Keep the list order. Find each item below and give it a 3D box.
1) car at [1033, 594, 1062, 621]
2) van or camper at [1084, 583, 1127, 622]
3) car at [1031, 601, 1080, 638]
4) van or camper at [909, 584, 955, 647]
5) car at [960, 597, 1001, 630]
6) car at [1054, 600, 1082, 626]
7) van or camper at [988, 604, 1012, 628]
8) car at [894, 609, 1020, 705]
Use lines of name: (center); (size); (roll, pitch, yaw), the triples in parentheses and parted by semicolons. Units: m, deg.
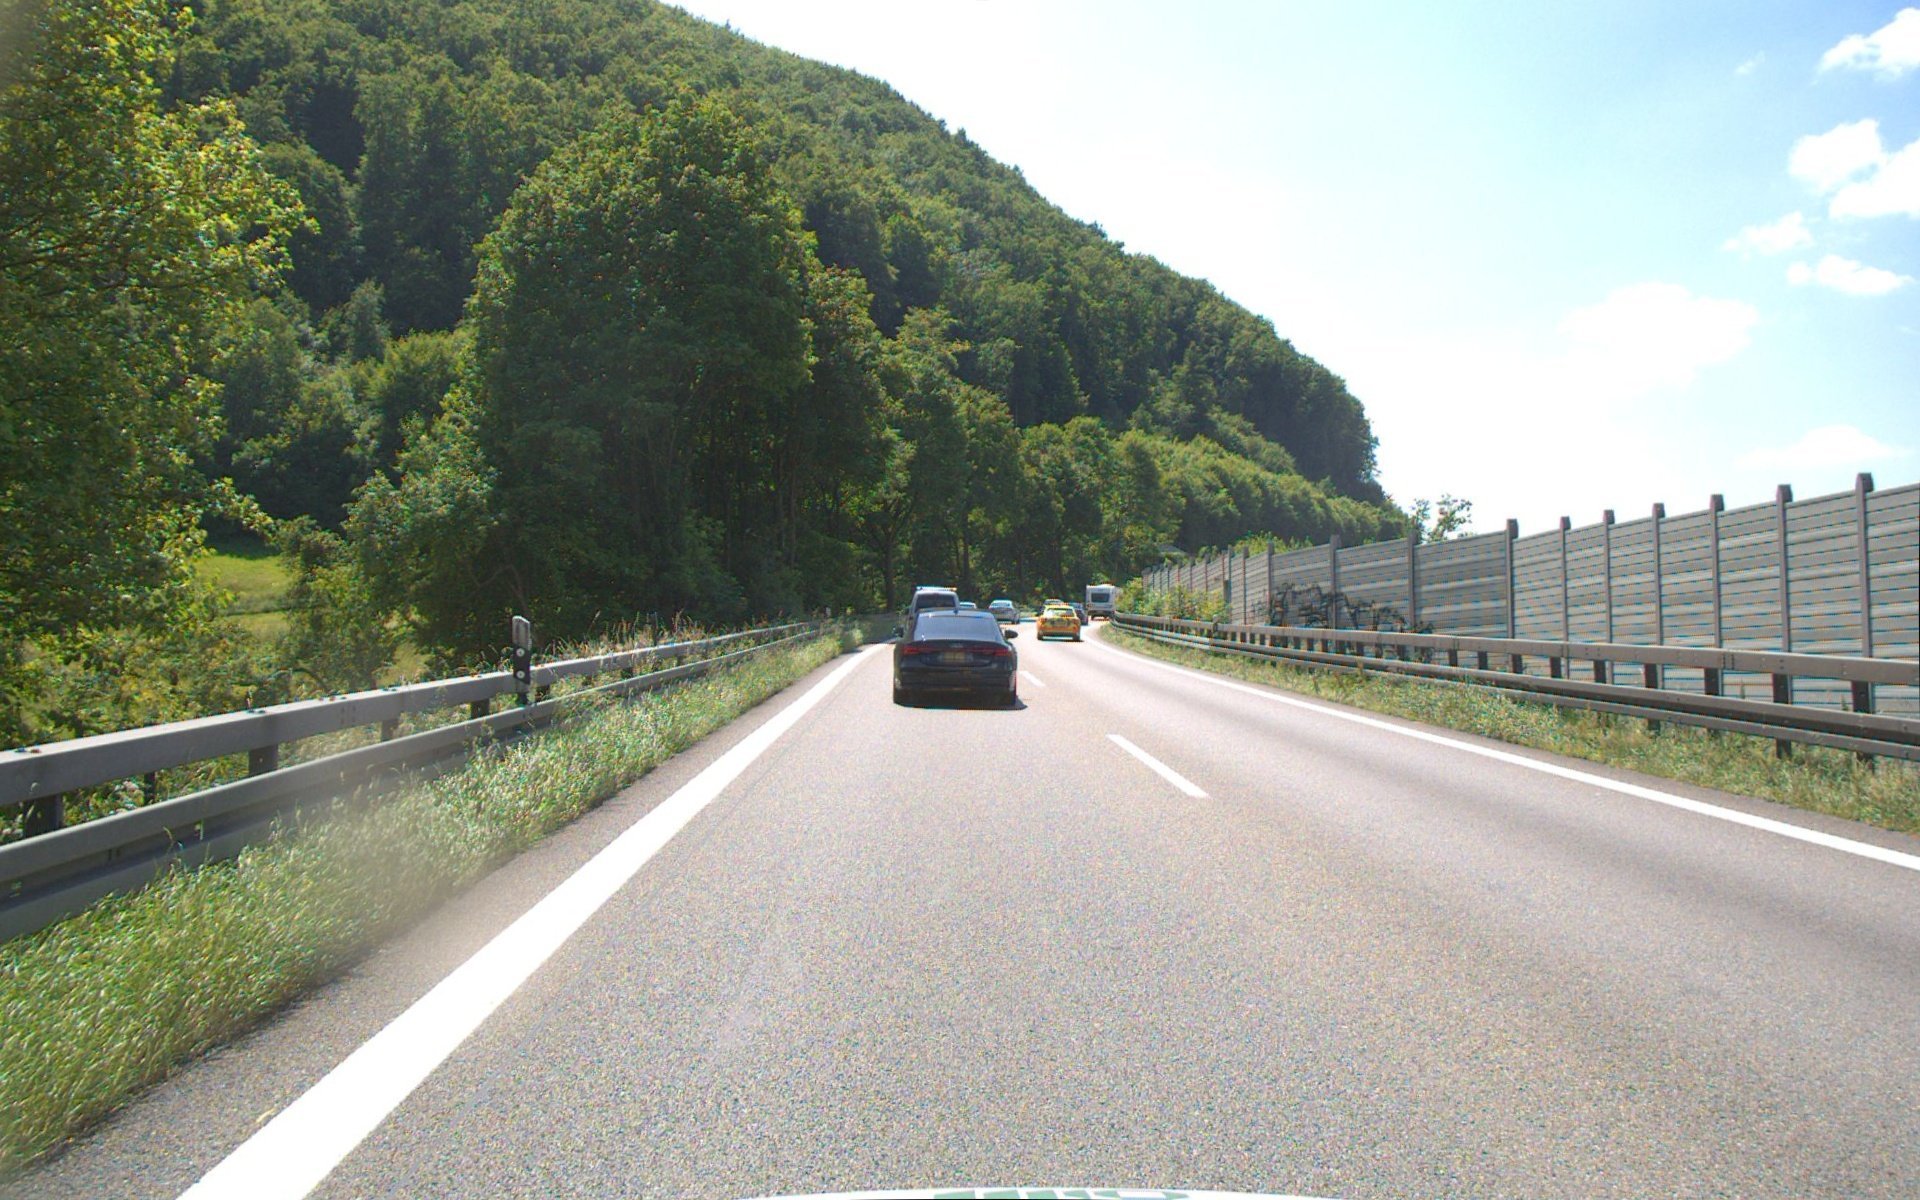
car: (7.028, 0.599, 132.549); (1.951, 2.049, 4.003); (-2, 0, 8)
van or camper: (11.606, 0.225, 131.736); (2.403, 2.969, 6.130); (0, -1, 15)
car: (4.021, 0.808, 70.059); (1.825, 1.514, 3.999); (0, -1, 0)
van or camper: (-0.865, 0.469, 50.478); (1.363, 1.848, 3.999); (0, -1, -1)
car: (0.890, 0.601, 73.525); (1.711, 1.456, 3.999); (0, -1, -1)
car: (7.190, 0.853, 110.361); (1.736, 1.665, 4.002); (-2, 0, 4)
van or camper: (2.632, 1.030, 107.690); (1.525, 1.561, 3.506); (0, -1, 2)
car: (-0.089, 0.834, 25.716); (1.800, 1.373, 3.999); (0, -1, -1)
